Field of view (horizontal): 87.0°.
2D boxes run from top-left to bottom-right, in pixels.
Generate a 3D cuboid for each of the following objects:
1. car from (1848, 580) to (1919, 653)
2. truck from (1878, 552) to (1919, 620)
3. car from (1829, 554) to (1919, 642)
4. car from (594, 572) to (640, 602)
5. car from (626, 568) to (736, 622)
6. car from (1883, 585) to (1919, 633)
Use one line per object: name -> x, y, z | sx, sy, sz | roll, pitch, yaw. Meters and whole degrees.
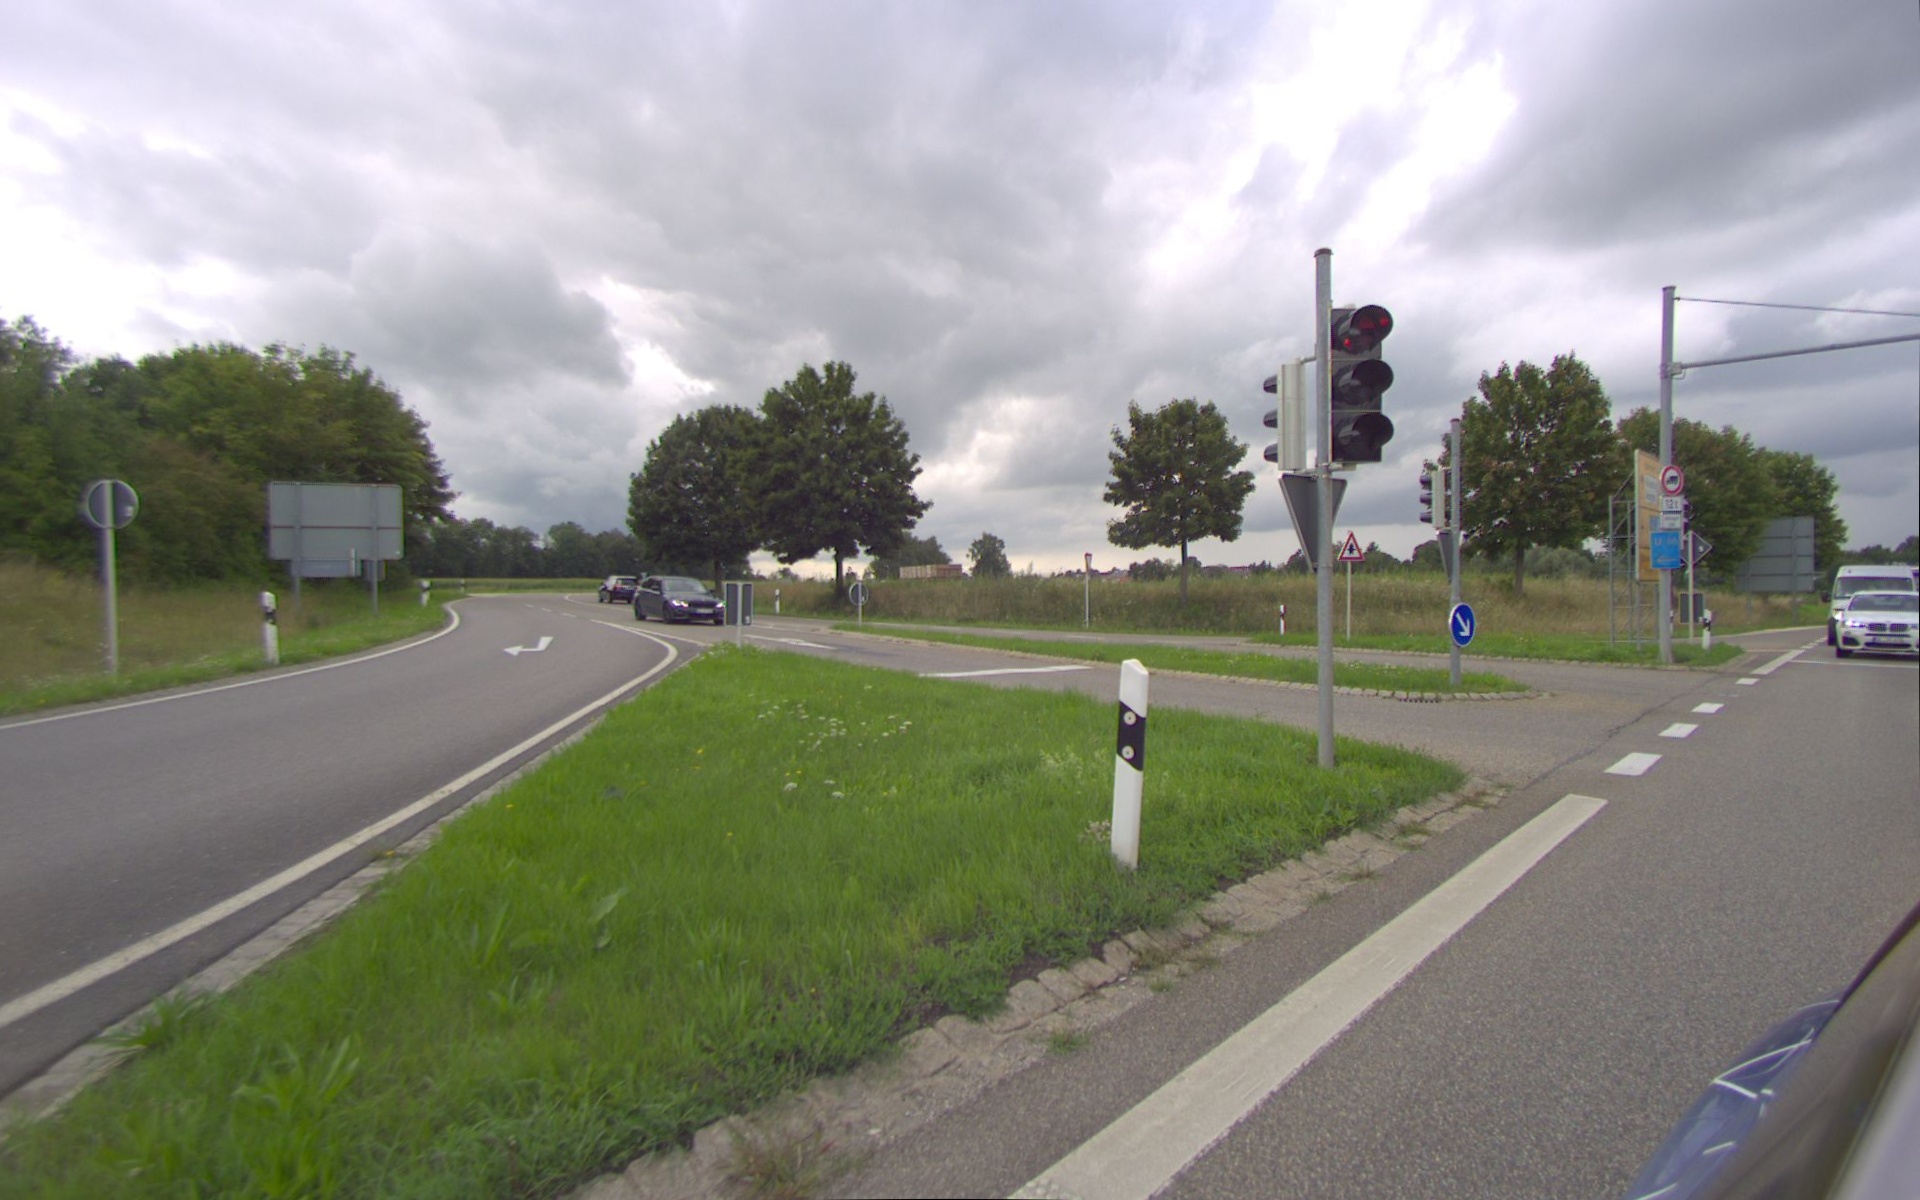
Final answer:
car -> 22.999, 0.357, 24.652 | 1.993, 1.649, 4.209 | 0, 1, 42
truck -> 47.014, -0.687, 49.473 | 3.098, 3.148, 7.292 | 1, 1, 43
car -> 28.314, -0.068, 30.905 | 2.390, 2.472, 5.426 | -1, 0, 44
car -> -18.640, -0.742, 54.916 | 1.776, 1.468, 4.281 | 0, 3, -27
car -> -8.693, -0.185, 31.240 | 1.961, 1.522, 4.669 | 0, 1, -33
car -> 34.754, 0.303, 36.592 | 1.993, 1.649, 4.208 | -1, 0, 43
